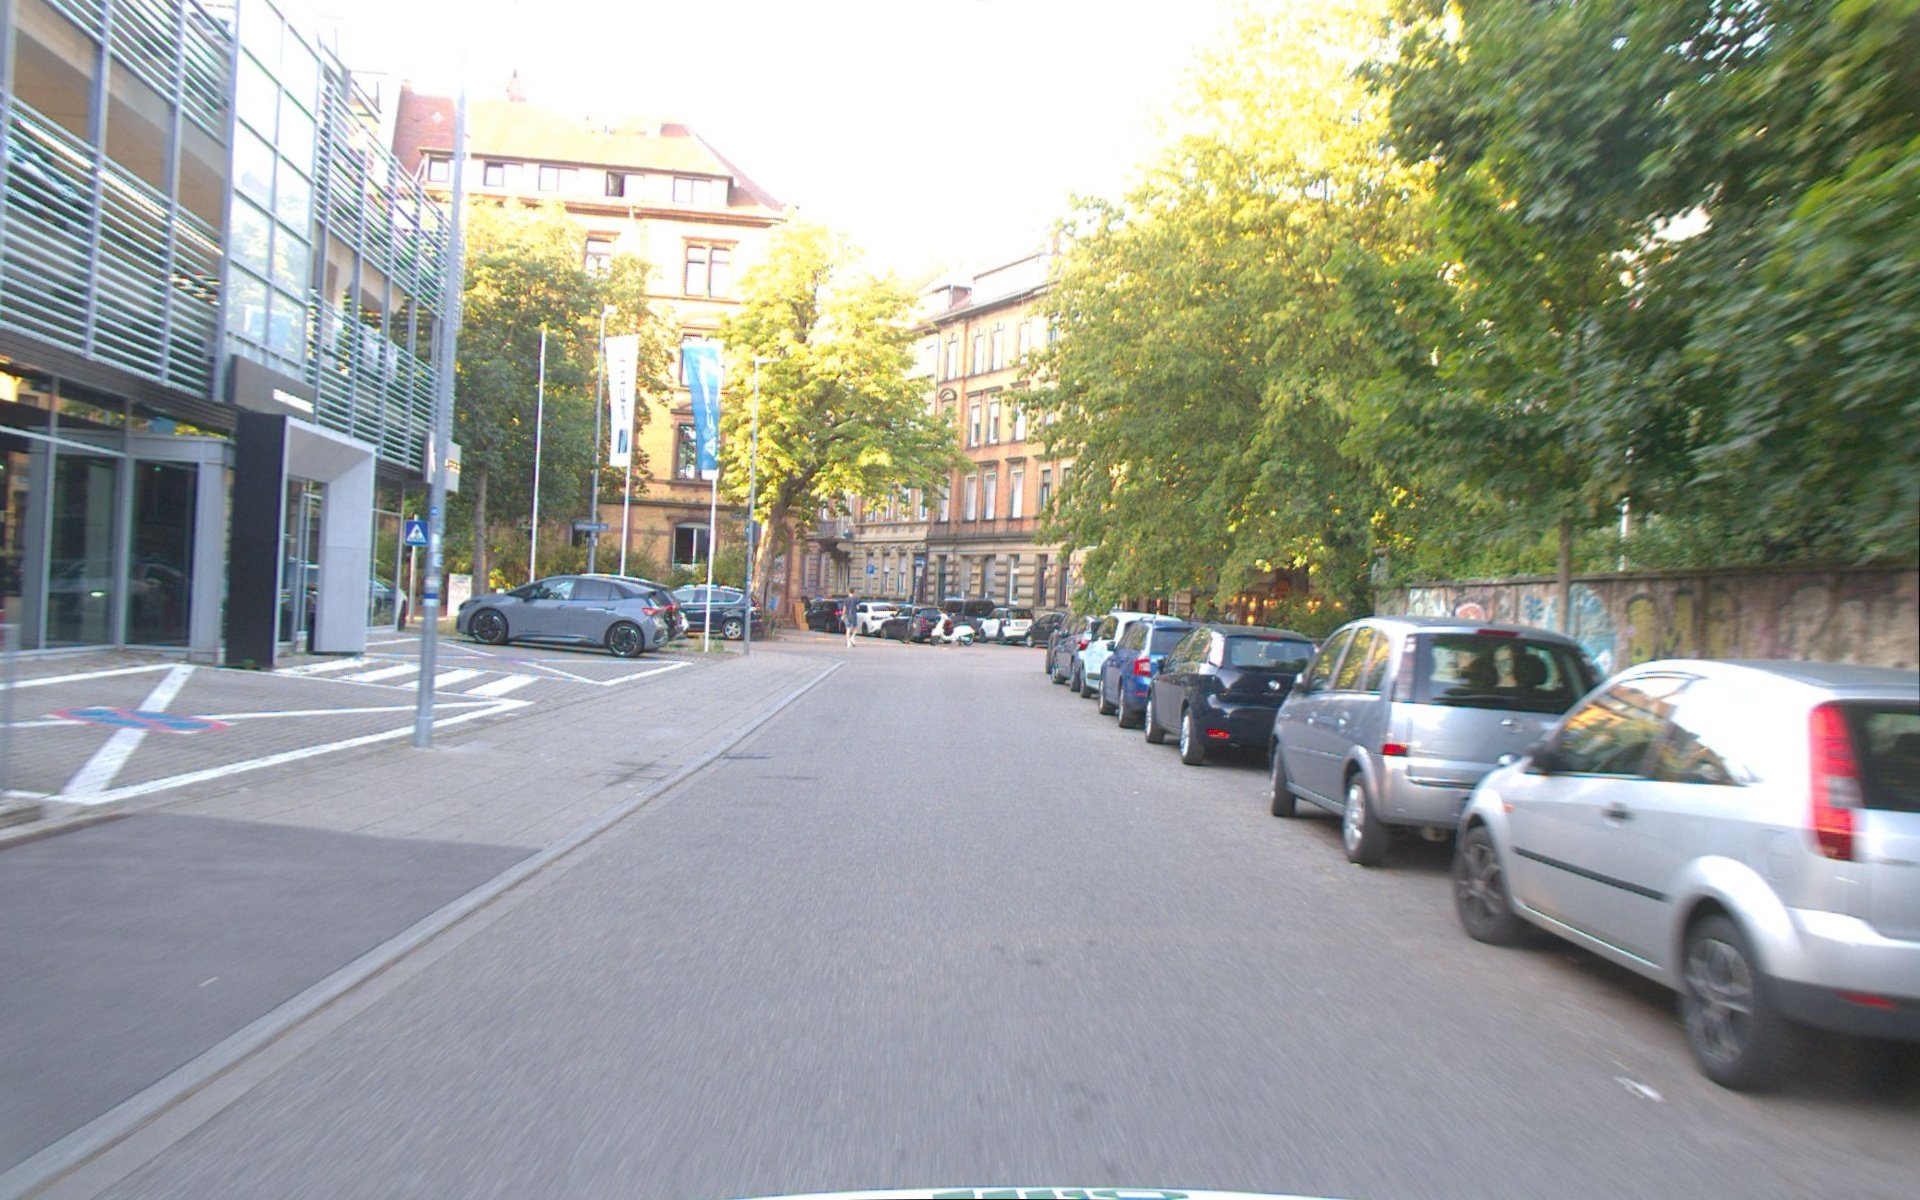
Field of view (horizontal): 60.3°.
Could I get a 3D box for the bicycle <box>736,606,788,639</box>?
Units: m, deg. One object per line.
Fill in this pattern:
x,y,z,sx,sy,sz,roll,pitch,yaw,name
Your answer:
-6.665,0.752,55.664,1.650,1.046,0.442,3,0,-25,bicycle

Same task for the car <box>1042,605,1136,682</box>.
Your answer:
2.909,0.957,38.002,1.661,1.598,3.970,3,0,-2,car

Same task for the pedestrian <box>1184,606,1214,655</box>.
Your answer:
9.237,1.158,63.934,0.828,1.835,0.771,2,0,-21,pedestrian

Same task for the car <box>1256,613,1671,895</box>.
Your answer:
3.415,0.950,11.996,1.724,1.632,3.872,3,0,-1,car

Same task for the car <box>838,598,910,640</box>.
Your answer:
-3.629,0.773,68.946,1.632,1.455,4.139,3,1,-23,car

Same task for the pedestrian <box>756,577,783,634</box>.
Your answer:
-6.520,0.182,56.551,0.799,1.884,0.802,3,0,-5,pedestrian

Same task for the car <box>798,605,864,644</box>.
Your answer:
-5.727,1.050,73.289,1.633,1.455,3.866,3,1,-25,car

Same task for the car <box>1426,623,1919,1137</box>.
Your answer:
3.439,0.920,7.020,1.724,1.466,3.873,3,1,-1,car

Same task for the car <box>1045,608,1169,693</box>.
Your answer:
2.856,0.960,32.967,1.662,1.502,4.207,3,0,-5,car

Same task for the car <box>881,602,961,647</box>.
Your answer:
-1.557,0.943,64.449,1.633,1.455,3.960,3,1,-24,car

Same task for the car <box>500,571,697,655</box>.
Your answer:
-8.027,0.271,36.986,3.986,1.646,1.764,3,0,-3,car

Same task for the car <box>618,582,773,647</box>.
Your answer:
-8.416,0.453,53.004,4.738,1.762,1.918,4,0,-7,car

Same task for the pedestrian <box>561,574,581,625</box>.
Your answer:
-12.996,-0.018,55.303,0.532,1.663,0.447,3,0,-5,pedestrian

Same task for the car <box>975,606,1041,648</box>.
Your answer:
1.998,1.137,69.488,1.653,1.552,2.746,4,0,-25,car

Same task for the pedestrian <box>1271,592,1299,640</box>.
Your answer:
12.432,0.610,63.264,0.760,1.835,0.840,1,1,-16,pedestrian

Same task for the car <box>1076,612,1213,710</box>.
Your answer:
3.120,1.005,28.564,1.662,1.502,3.556,3,0,-4,car

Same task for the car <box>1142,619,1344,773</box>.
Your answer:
3.144,1.016,19.015,1.564,1.502,3.773,3,0,-1,car

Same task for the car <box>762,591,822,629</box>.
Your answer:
-8.005,0.461,78.565,1.633,1.551,3.866,3,1,-25,car

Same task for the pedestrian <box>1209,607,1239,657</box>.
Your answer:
9.924,1.208,62.220,0.760,1.835,0.840,3,0,-16,pedestrian

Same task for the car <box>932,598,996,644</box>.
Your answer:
0.178,0.916,73.051,1.653,1.813,2.992,3,0,-25,car

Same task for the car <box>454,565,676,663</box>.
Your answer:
-8.065,0.273,34.102,4.048,1.645,1.912,5,0,-3,car

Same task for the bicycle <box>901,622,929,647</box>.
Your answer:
-1.598,1.228,59.072,0.416,0.836,1.462,3,0,21,bicycle

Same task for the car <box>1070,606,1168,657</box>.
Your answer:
5.901,1.156,61.627,1.890,1.552,3.866,3,1,-25,car

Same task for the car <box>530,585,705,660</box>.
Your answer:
-8.542,0.550,41.533,3.967,1.500,1.919,5,0,-5,car

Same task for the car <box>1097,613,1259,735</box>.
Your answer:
3.021,0.983,23.654,1.661,1.502,4.116,3,0,-1,car

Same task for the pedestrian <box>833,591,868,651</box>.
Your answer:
-3.506,0.672,52.921,0.725,1.835,1.115,2,0,-21,pedestrian

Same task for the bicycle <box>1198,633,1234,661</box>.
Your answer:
9.360,1.711,60.516,0.317,0.930,1.344,2,1,-42,bicycle

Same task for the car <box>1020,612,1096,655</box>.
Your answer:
3.893,1.327,66.124,1.653,1.552,3.219,3,0,-25,car

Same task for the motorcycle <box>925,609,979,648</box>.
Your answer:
-0.293,1.055,61.211,1.897,1.364,0.576,3,0,-12,motorcycle

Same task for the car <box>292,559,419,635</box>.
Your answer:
-13.917,-0.057,38.305,1.669,1.577,4.218,3,-1,-6,car

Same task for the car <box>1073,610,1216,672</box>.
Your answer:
5.029,1.134,44.848,1.849,1.492,3.947,4,0,42,car
